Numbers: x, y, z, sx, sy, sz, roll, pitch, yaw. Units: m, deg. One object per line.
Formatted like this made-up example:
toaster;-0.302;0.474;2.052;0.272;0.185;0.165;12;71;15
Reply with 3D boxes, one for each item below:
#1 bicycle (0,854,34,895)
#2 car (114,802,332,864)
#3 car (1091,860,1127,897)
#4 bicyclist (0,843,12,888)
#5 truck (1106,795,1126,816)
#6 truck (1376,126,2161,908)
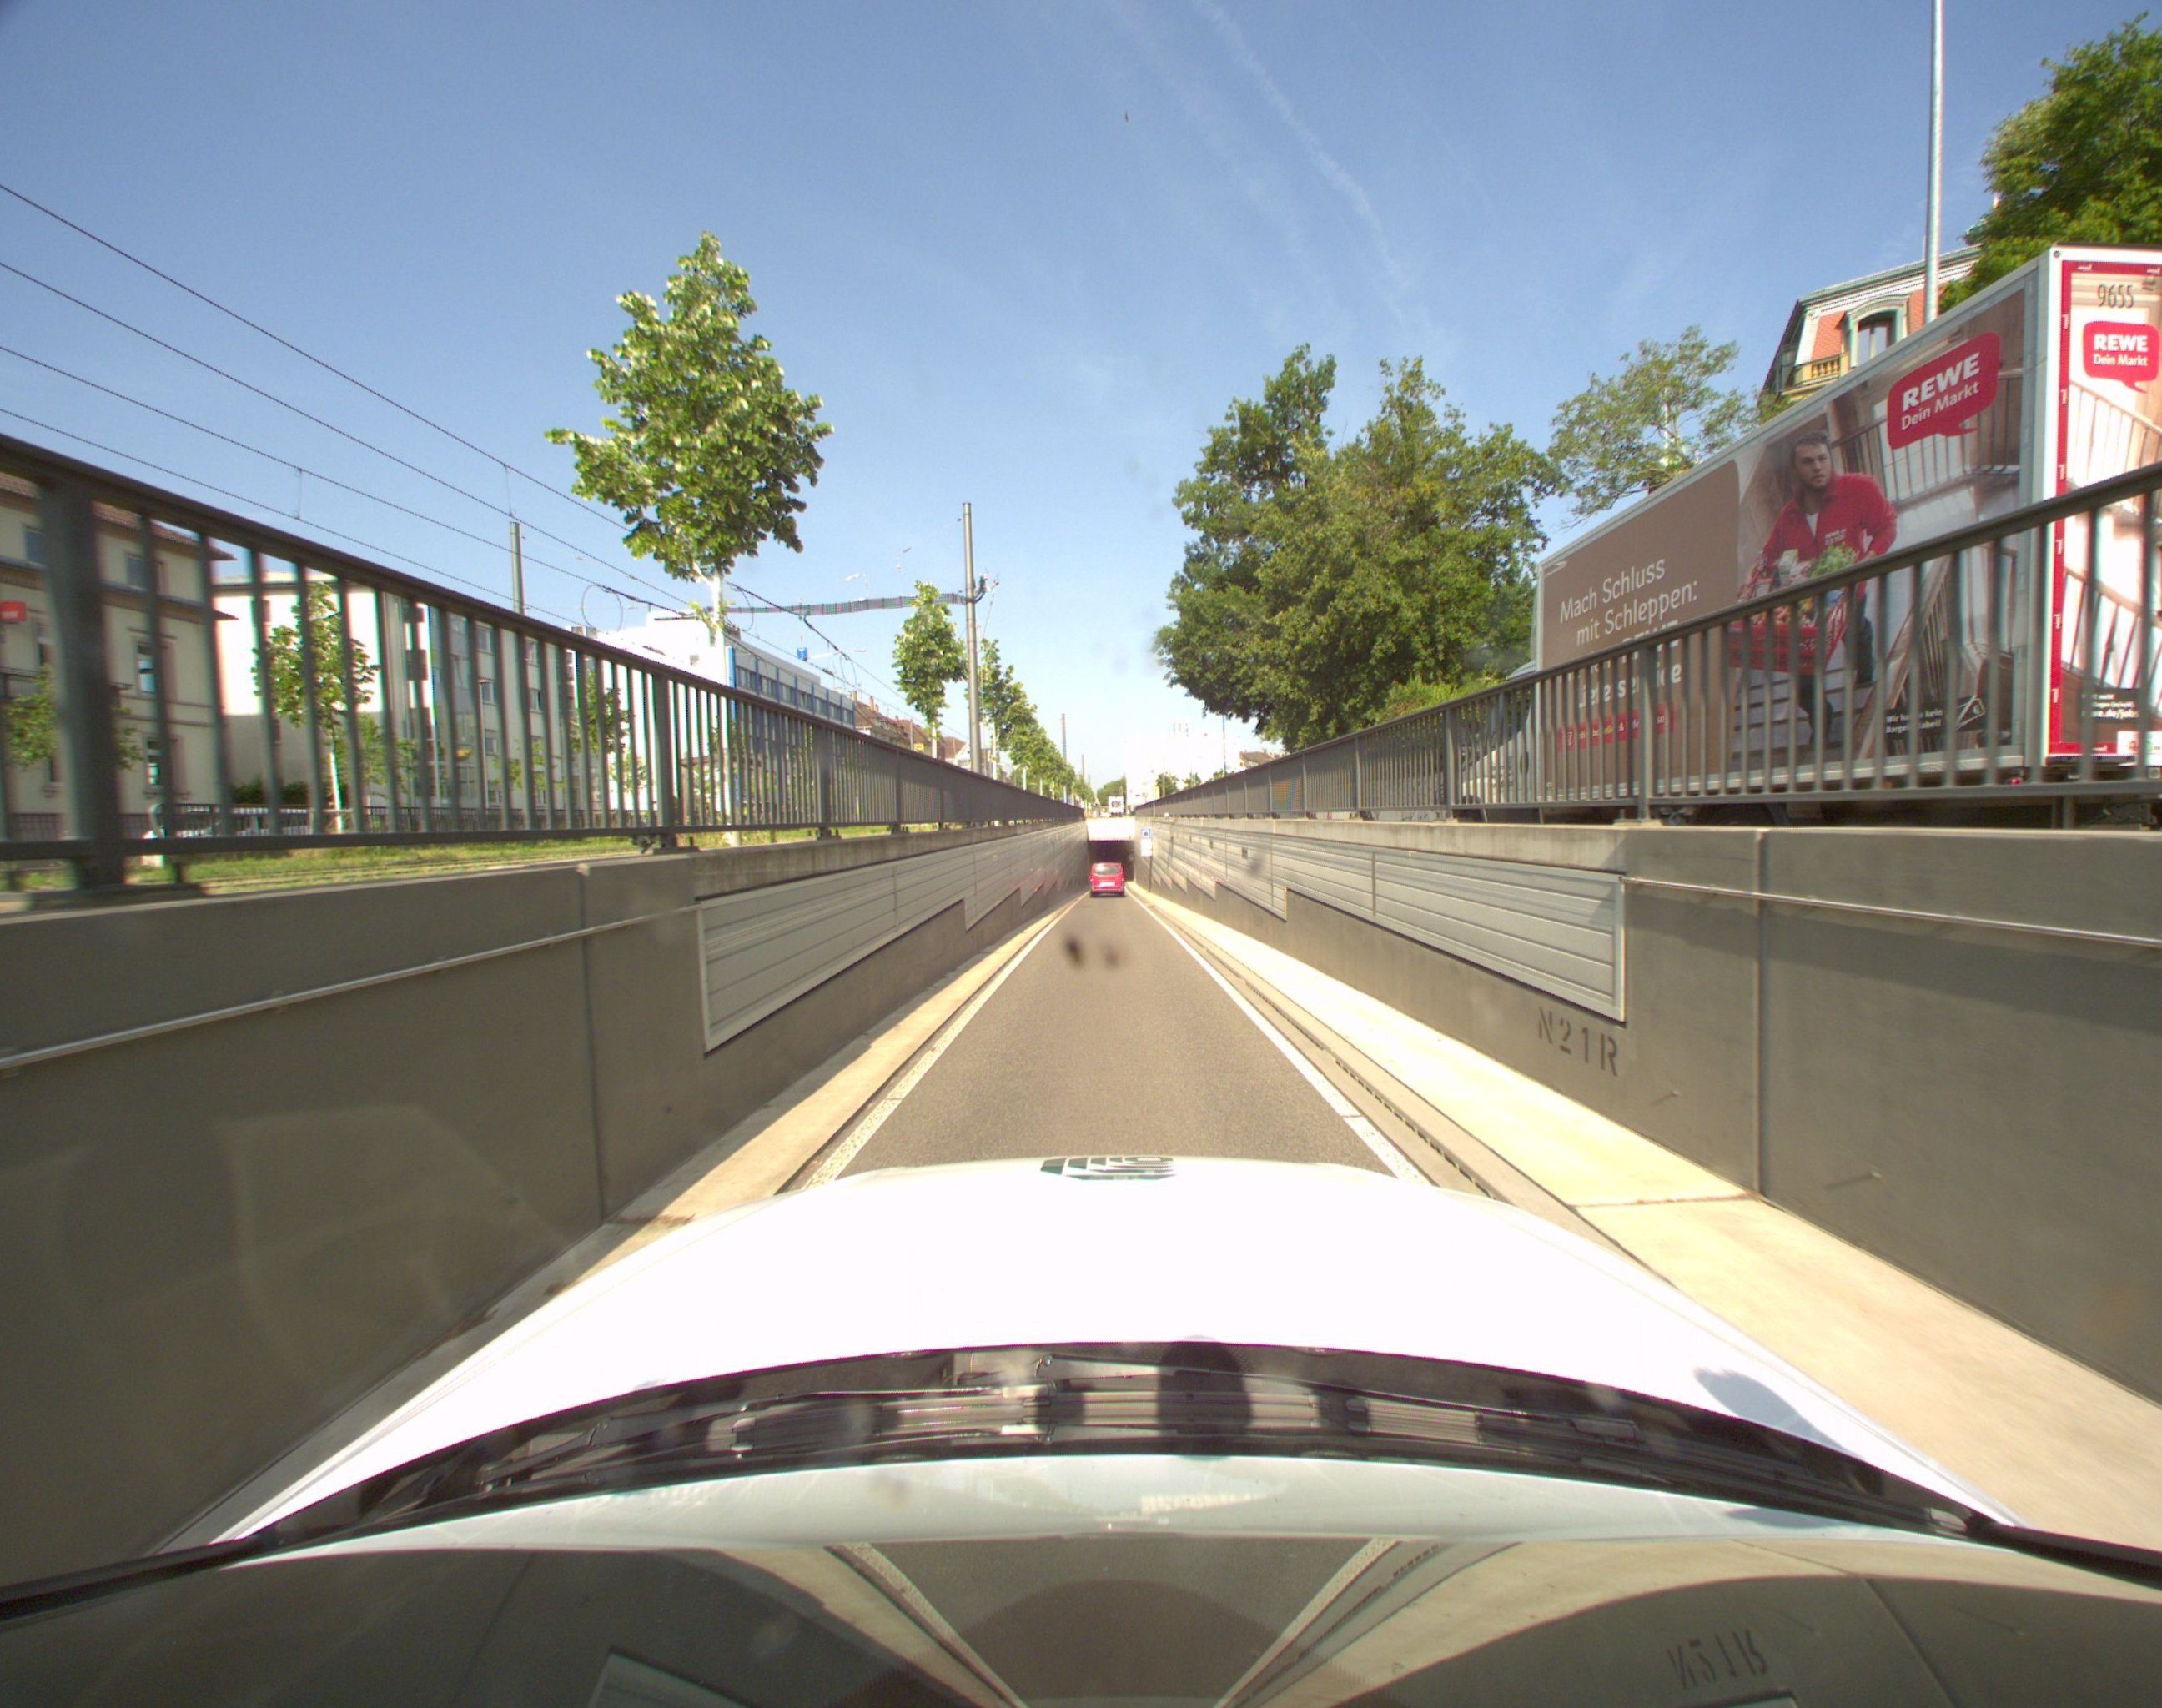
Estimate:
bicycle;-28.847;0.541;21.271;0.530;1.093;1.875;0;-1;0
car;-30.612;-0.743;29.385;2.242;2.013;5.264;0;1;1
car;1.523;1.309;45.008;1.894;1.859;4.002;0;1;2
bicyclist;-28.852;0.299;21.146;0.530;1.179;1.251;0;0;0
truck;6.541;-9.040;152.715;3.378;3.725;10.458;-2;3;2
truck;5.258;-1.640;7.182;2.493;3.059;7.825;0;5;1
